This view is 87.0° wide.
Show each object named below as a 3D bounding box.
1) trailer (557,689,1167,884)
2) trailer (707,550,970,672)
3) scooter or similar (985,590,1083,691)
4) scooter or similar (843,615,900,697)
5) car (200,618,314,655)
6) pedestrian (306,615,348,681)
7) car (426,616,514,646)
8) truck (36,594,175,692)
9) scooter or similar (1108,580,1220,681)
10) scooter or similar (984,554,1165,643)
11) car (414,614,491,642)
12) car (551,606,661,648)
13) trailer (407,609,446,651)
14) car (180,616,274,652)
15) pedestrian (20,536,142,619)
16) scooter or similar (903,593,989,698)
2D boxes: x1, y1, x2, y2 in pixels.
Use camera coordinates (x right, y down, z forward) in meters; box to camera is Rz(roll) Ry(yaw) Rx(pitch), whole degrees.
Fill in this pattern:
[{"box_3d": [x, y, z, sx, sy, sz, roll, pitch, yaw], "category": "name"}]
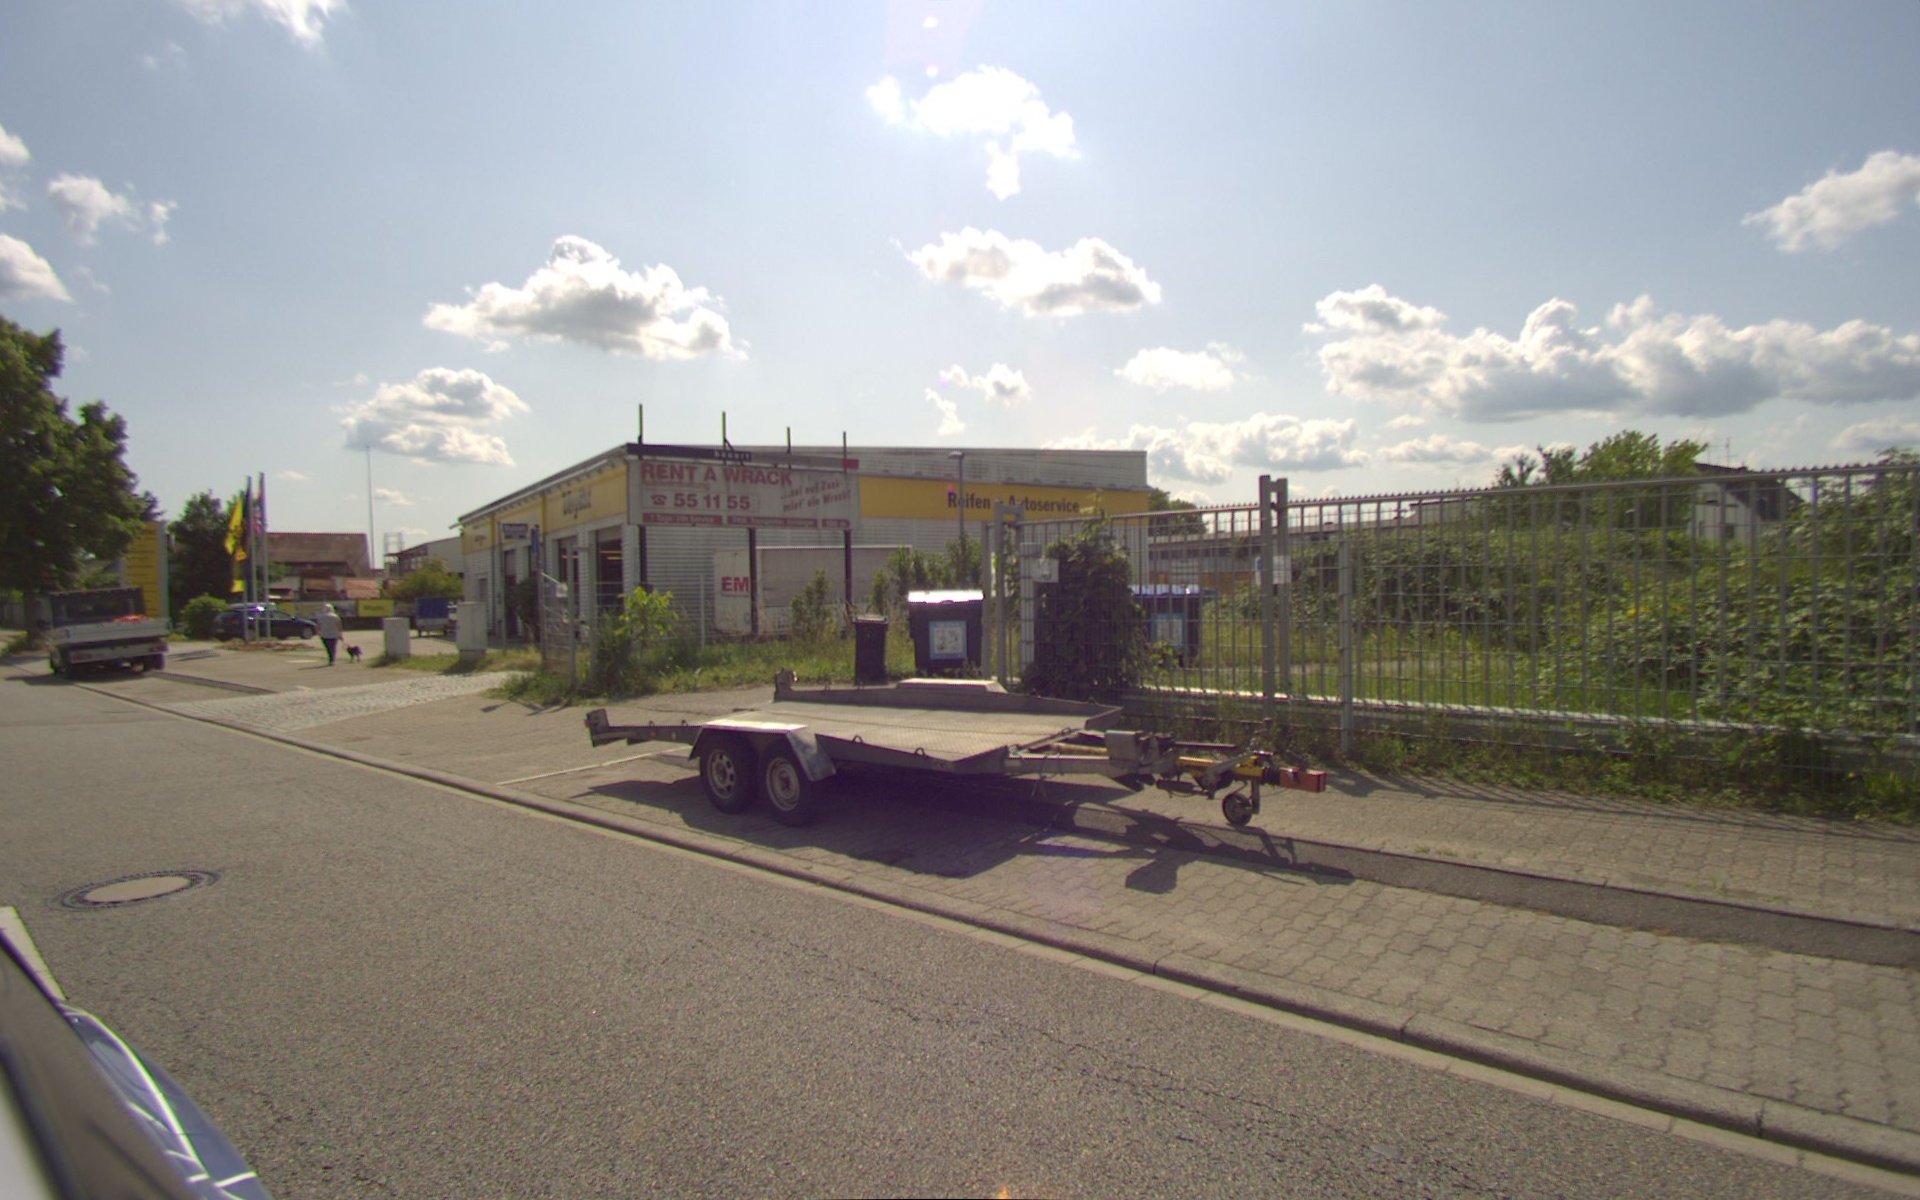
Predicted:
[{"box_3d": [-0.931, 1.214, 7.781, 4.441, 0.556, 2.213, -1, 4, 40], "category": "trailer"}, {"box_3d": [-3.127, 0.231, 26.998, 6.432, 2.873, 2.764, -1, 0, -38], "category": "trailer"}, {"box_3d": [1.180, 0.639, 16.547, 1.428, 1.549, 1.171, -1, 0, -3], "category": "scooter or similar"}, {"box_3d": [-1.448, 0.899, 16.707, 0.884, 1.285, 0.883, -1, 0, -3], "category": "scooter or similar"}, {"box_3d": [-31.164, 1.605, 44.993, 1.845, 1.424, 3.821, -1, 1, 19], "category": "car"}, {"box_3d": [-15.558, 1.167, 24.877, 0.918, 1.557, 0.653, -2, -1, 43], "category": "pedestrian"}, {"box_3d": [-27.359, 1.706, 56.572, 4.212, 1.494, 1.675, 0, 0, -35], "category": "car"}, {"box_3d": [-23.538, 1.108, 27.733, 7.351, 2.255, 2.105, -2, 2, 44], "category": "truck"}, {"box_3d": [3.399, 0.500, 17.047, 1.563, 1.598, 1.171, -1, 0, -2], "category": "scooter or similar"}, {"box_3d": [3.623, -0.073, 31.693, 5.390, 2.574, 2.006, -1, -1, -28], "category": "scooter or similar"}, {"box_3d": [-31.030, 1.690, 61.866, 3.934, 1.622, 1.854, -1, 0, -36], "category": "car"}, {"box_3d": [-13.380, 1.000, 38.293, 3.524, 1.447, 1.794, -1, 0, -36], "category": "car"}, {"box_3d": [-22.994, 1.261, 43.603, 1.249, 1.705, 2.978, -2, 1, -32], "category": "trailer"}, {"box_3d": [-39.741, 1.818, 54.917, 4.034, 1.726, 1.682, -1, 0, -40], "category": "car"}, {"box_3d": [-23.293, -0.567, 26.770, 4.000, 2.029, 1.972, -1, 1, 43], "category": "pedestrian"}, {"box_3d": [-0.244, 0.711, 16.372, 1.300, 1.598, 1.171, -1, 0, -3], "category": "scooter or similar"}]
